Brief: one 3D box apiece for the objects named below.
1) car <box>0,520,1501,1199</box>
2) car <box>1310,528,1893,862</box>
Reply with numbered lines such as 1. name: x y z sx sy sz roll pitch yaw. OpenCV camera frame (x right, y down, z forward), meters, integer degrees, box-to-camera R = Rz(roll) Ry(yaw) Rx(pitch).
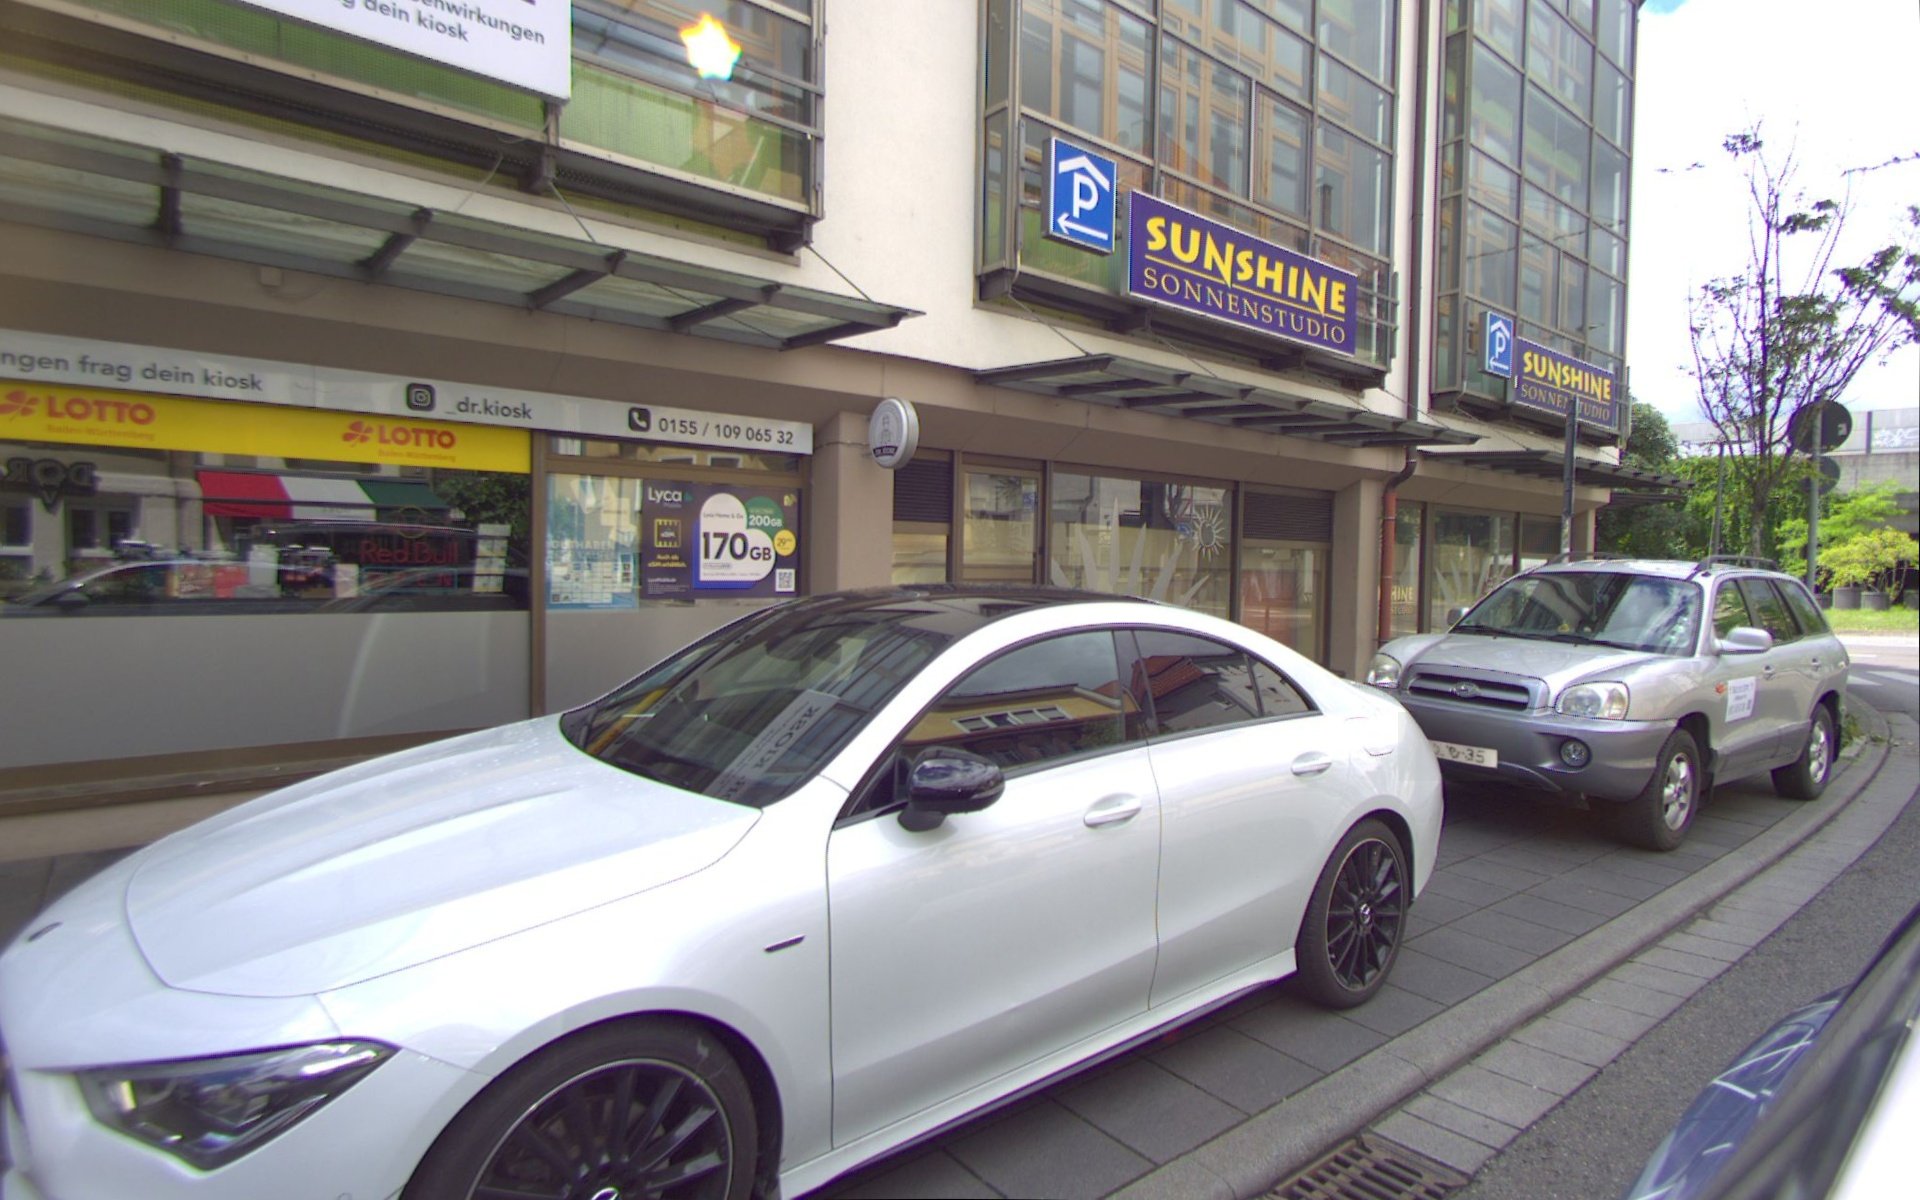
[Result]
1. car: -0.153 0.587 3.381 4.453 1.463 1.857 0 2 -39
2. car: 4.627 0.416 7.092 4.381 1.681 1.828 0 3 -35
